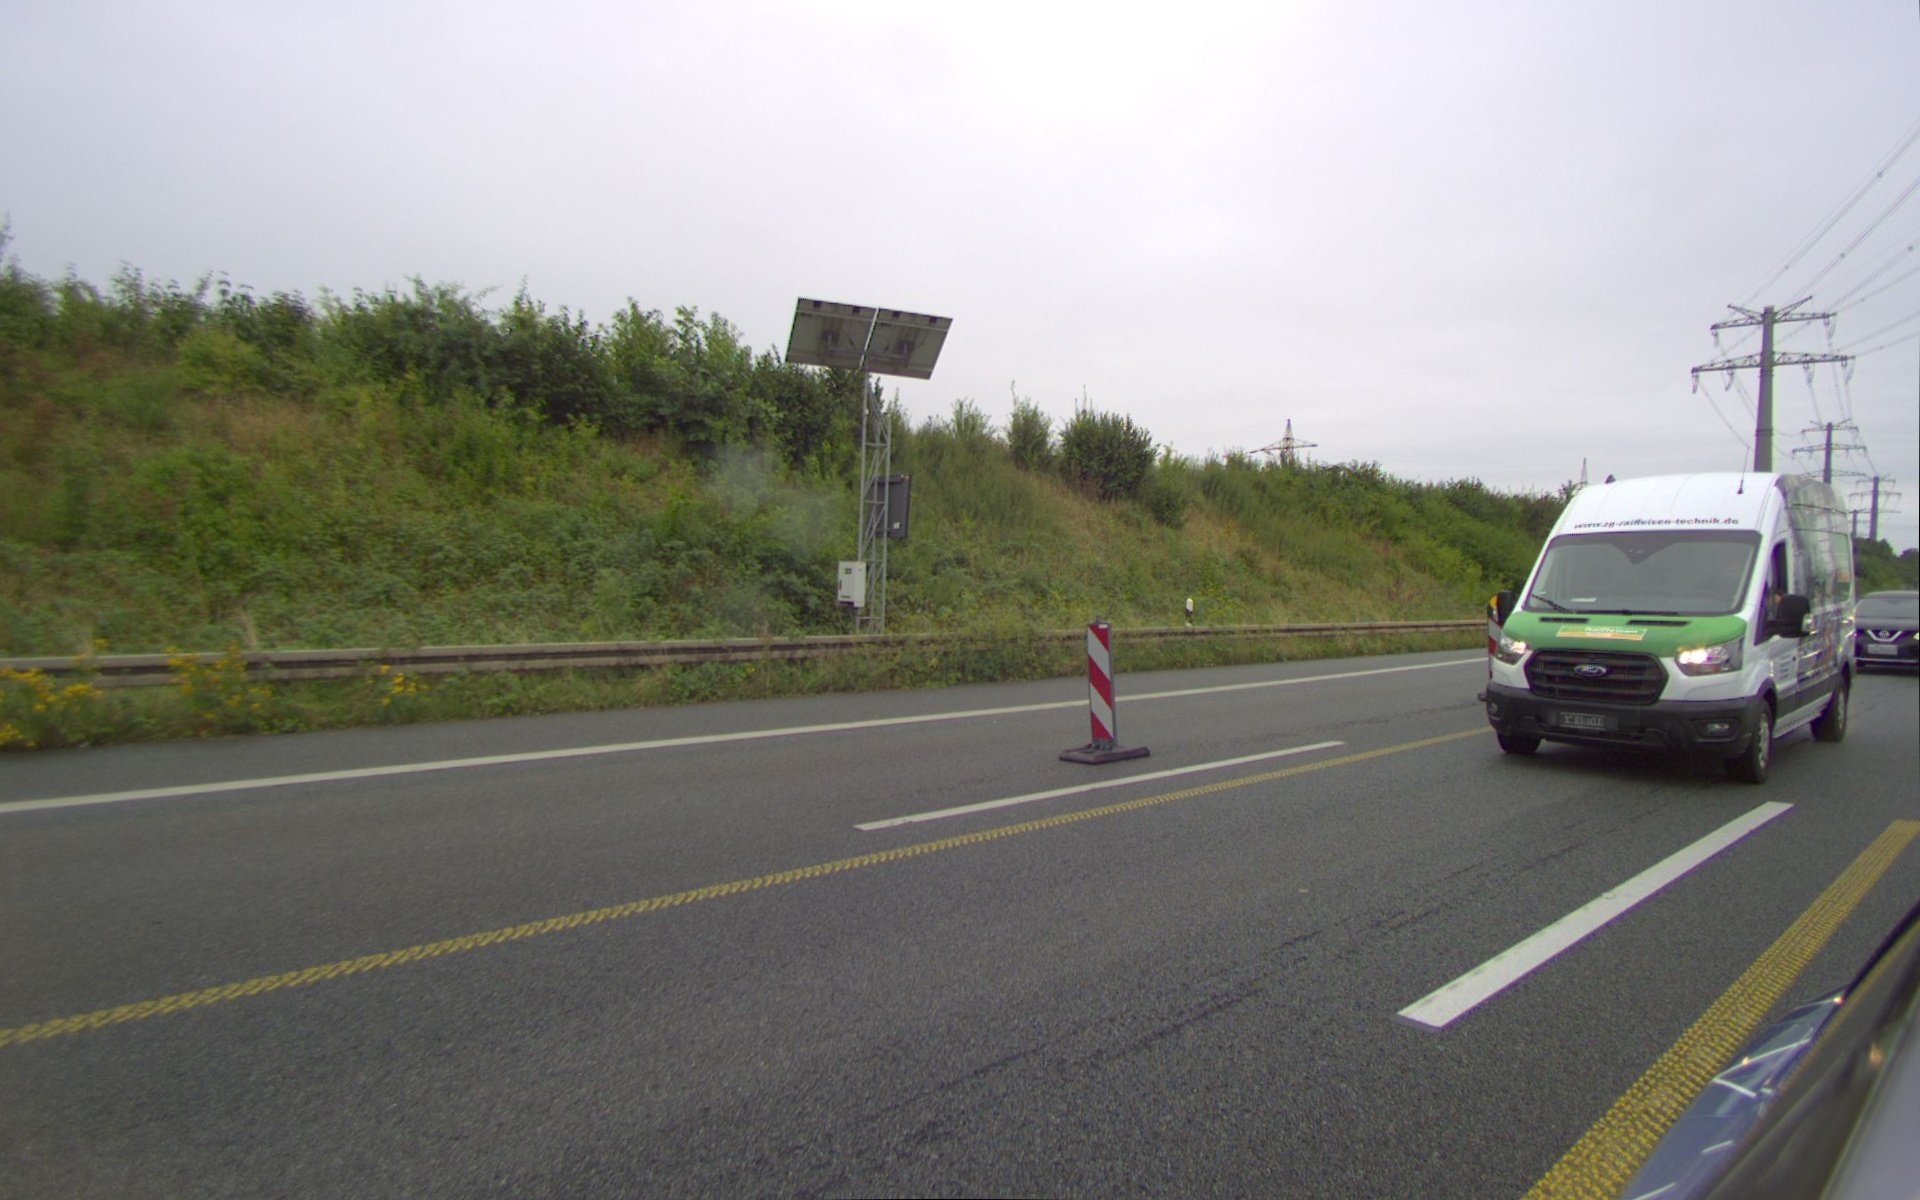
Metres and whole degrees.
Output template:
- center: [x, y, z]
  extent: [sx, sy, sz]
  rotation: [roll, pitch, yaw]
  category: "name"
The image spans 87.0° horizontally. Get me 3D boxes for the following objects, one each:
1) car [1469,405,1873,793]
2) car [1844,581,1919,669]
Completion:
- center: [7.243, -0.033, 9.986]
  extent: [5.656, 2.817, 1.997]
  rotation: [0, 1, -42]
  category: "car"
- center: [19.873, 0.479, 20.941]
  extent: [4.203, 1.679, 1.688]
  rotation: [0, 1, -39]
  category: "car"
